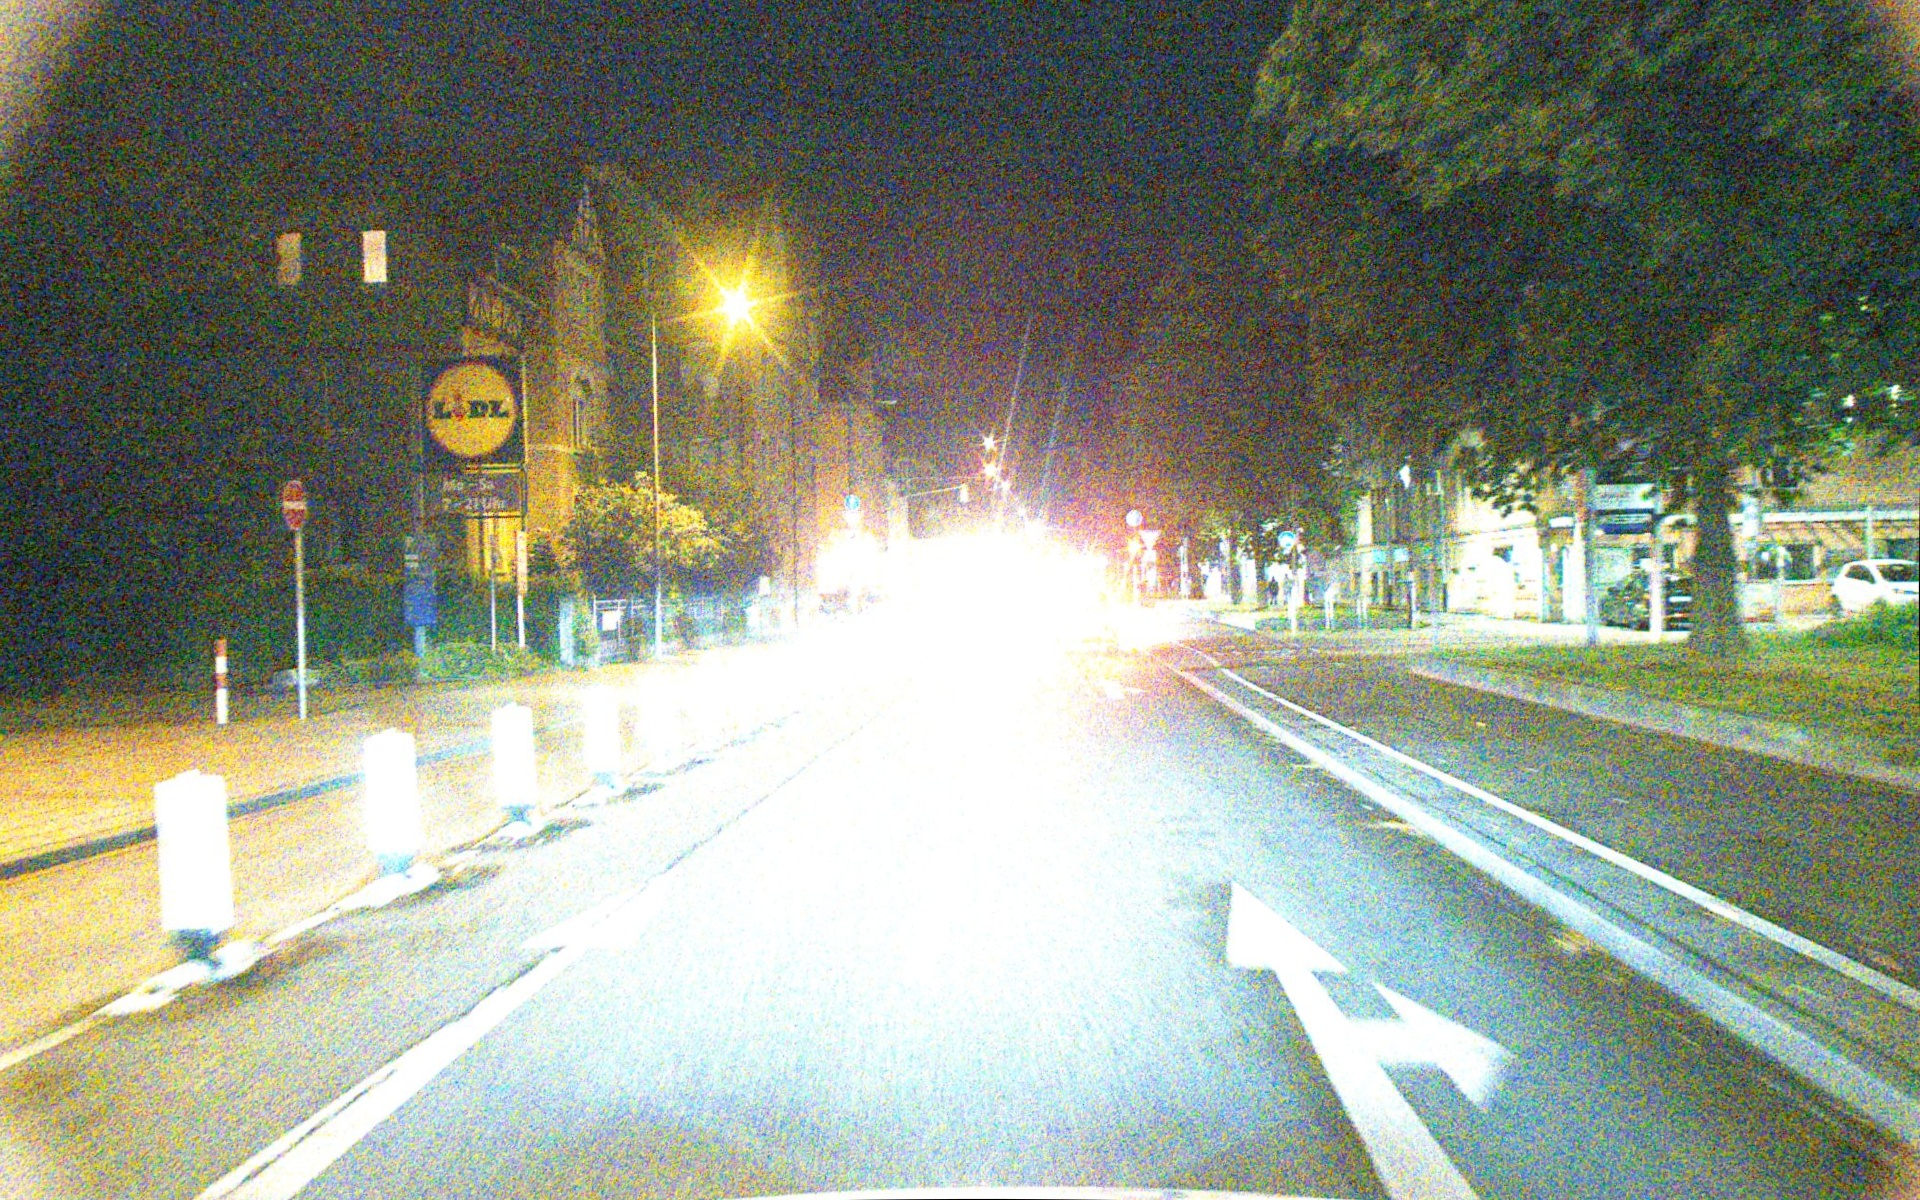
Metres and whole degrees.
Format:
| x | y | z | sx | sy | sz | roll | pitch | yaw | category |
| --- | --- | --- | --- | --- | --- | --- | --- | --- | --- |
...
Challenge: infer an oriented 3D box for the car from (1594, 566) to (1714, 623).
| x | y | z | sx | sy | sz | roll | pitch | yaw | category |
| --- | --- | --- | --- | --- | --- | --- | --- | --- | --- |
| 18.526 | -0.155 | 44.358 | 1.481 | 1.419 | 4.483 | -2 | 0 | 2 | car |

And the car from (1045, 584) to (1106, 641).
| x | y | z | sx | sy | sz | roll | pitch | yaw | category |
| --- | --- | --- | --- | --- | --- | --- | --- | --- | --- |
| 3.213 | 0.313 | 46.443 | 1.603 | 1.520 | 4.002 | 0 | 0 | 3 | car |

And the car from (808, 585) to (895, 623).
| x | y | z | sx | sy | sz | roll | pitch | yaw | category |
| --- | --- | --- | --- | --- | --- | --- | --- | --- | --- |
| -5.195 | 0.180 | 78.889 | 3.914 | 1.668 | 1.995 | -1 | 0 | -10 | car |

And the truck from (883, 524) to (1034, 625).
| x | y | z | sx | sy | sz | roll | pitch | yaw | category |
| --- | --- | --- | --- | --- | --- | --- | --- | --- | --- |
| -0.257 | -0.924 | 68.920 | 2.716 | 3.782 | 10.048 | -3 | 0 | -21 | truck |

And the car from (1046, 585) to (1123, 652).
| x | y | z | sx | sy | sz | roll | pitch | yaw | category |
| --- | --- | --- | --- | --- | --- | --- | --- | --- | --- |
| 3.001 | 0.413 | 40.260 | 1.767 | 1.520 | 4.732 | 0 | 0 | 4 | car |

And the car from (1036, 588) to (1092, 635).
| x | y | z | sx | sy | sz | roll | pitch | yaw | category |
| --- | --- | --- | --- | --- | --- | --- | --- | --- | --- |
| 3.345 | 0.336 | 53.697 | 1.693 | 1.460 | 4.212 | 0 | 0 | 2 | car |

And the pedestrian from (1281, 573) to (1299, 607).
| x | y | z | sx | sy | sz | roll | pitch | yaw | category |
| --- | --- | --- | --- | --- | --- | --- | --- | --- | --- |
| 17.498 | -0.532 | 87.787 | 0.723 | 1.799 | 0.907 | -2 | 0 | 3 | pedestrian |

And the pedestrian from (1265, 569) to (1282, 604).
| x | y | z | sx | sy | sz | roll | pitch | yaw | category |
| --- | --- | --- | --- | --- | --- | --- | --- | --- | --- |
| 16.654 | -0.717 | 87.739 | 0.699 | 1.799 | 0.907 | -2 | 0 | 3 | pedestrian |

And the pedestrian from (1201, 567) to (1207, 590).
| x | y | z | sx | sy | sz | roll | pitch | yaw | category |
| --- | --- | --- | --- | --- | --- | --- | --- | --- | --- |
| 21.749 | -1.933 | 147.426 | 0.477 | 2.049 | 0.551 | -2 | 0 | 2 | pedestrian |

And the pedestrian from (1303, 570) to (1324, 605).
| x | y | z | sx | sy | sz | roll | pitch | yaw | category |
| --- | --- | --- | --- | --- | --- | --- | --- | --- | --- |
| 18.774 | -0.680 | 87.840 | 0.882 | 1.799 | 0.907 | -2 | 0 | 3 | pedestrian |

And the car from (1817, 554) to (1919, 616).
| x | y | z | sx | sy | sz | roll | pitch | yaw | category |
| --- | --- | --- | --- | --- | --- | --- | --- | --- | --- |
| 24.592 | -0.415 | 43.657 | 1.746 | 1.560 | 3.999 | -2 | 0 | -2 | car |
